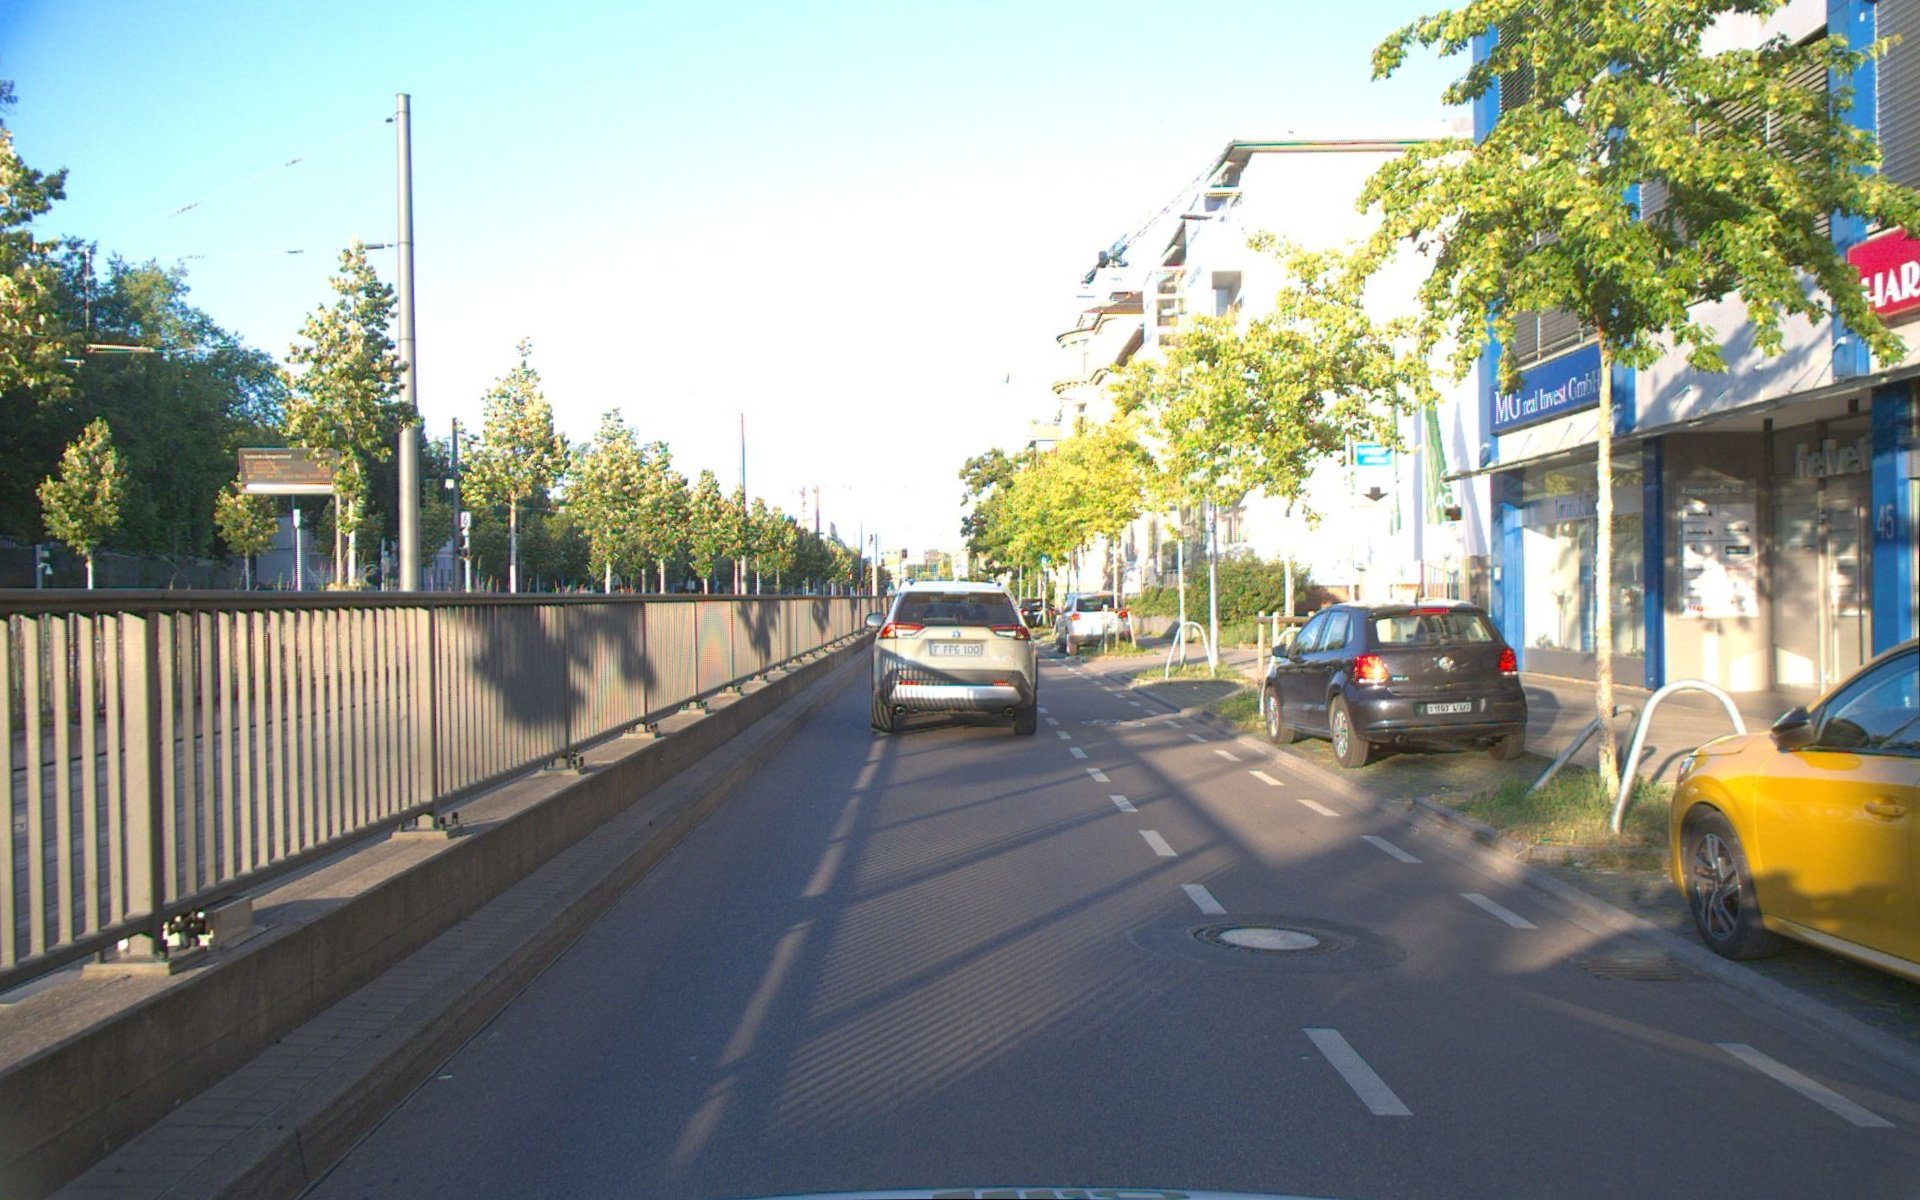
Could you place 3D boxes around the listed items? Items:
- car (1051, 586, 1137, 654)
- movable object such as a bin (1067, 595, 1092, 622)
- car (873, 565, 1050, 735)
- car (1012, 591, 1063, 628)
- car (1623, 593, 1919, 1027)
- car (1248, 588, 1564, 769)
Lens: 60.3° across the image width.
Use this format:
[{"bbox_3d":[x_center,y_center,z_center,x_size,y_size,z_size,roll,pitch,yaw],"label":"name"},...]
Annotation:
[{"bbox_3d":[3.610,0.518,45.321,1.817,1.736,4.252,-1,0,-3],"label":"car"},{"bbox_3d":[6.541,0.452,90.638,1.235,1.487,1.123,0,0,-4],"label":"movable object such as a bin"},{"bbox_3d":[-0.072,0.533,19.372,1.820,1.744,4.190,1,0,-3],"label":"car"},{"bbox_3d":[3.469,0.426,74.683,1.757,1.496,4.442,-4,0,-4],"label":"car"},{"bbox_3d":[4.134,0.720,5.958,1.650,1.480,4.127,-2,0,-3],"label":"car"},{"bbox_3d":[4.166,0.672,16.167,1.783,1.480,4.126,-2,0,-3],"label":"car"}]
